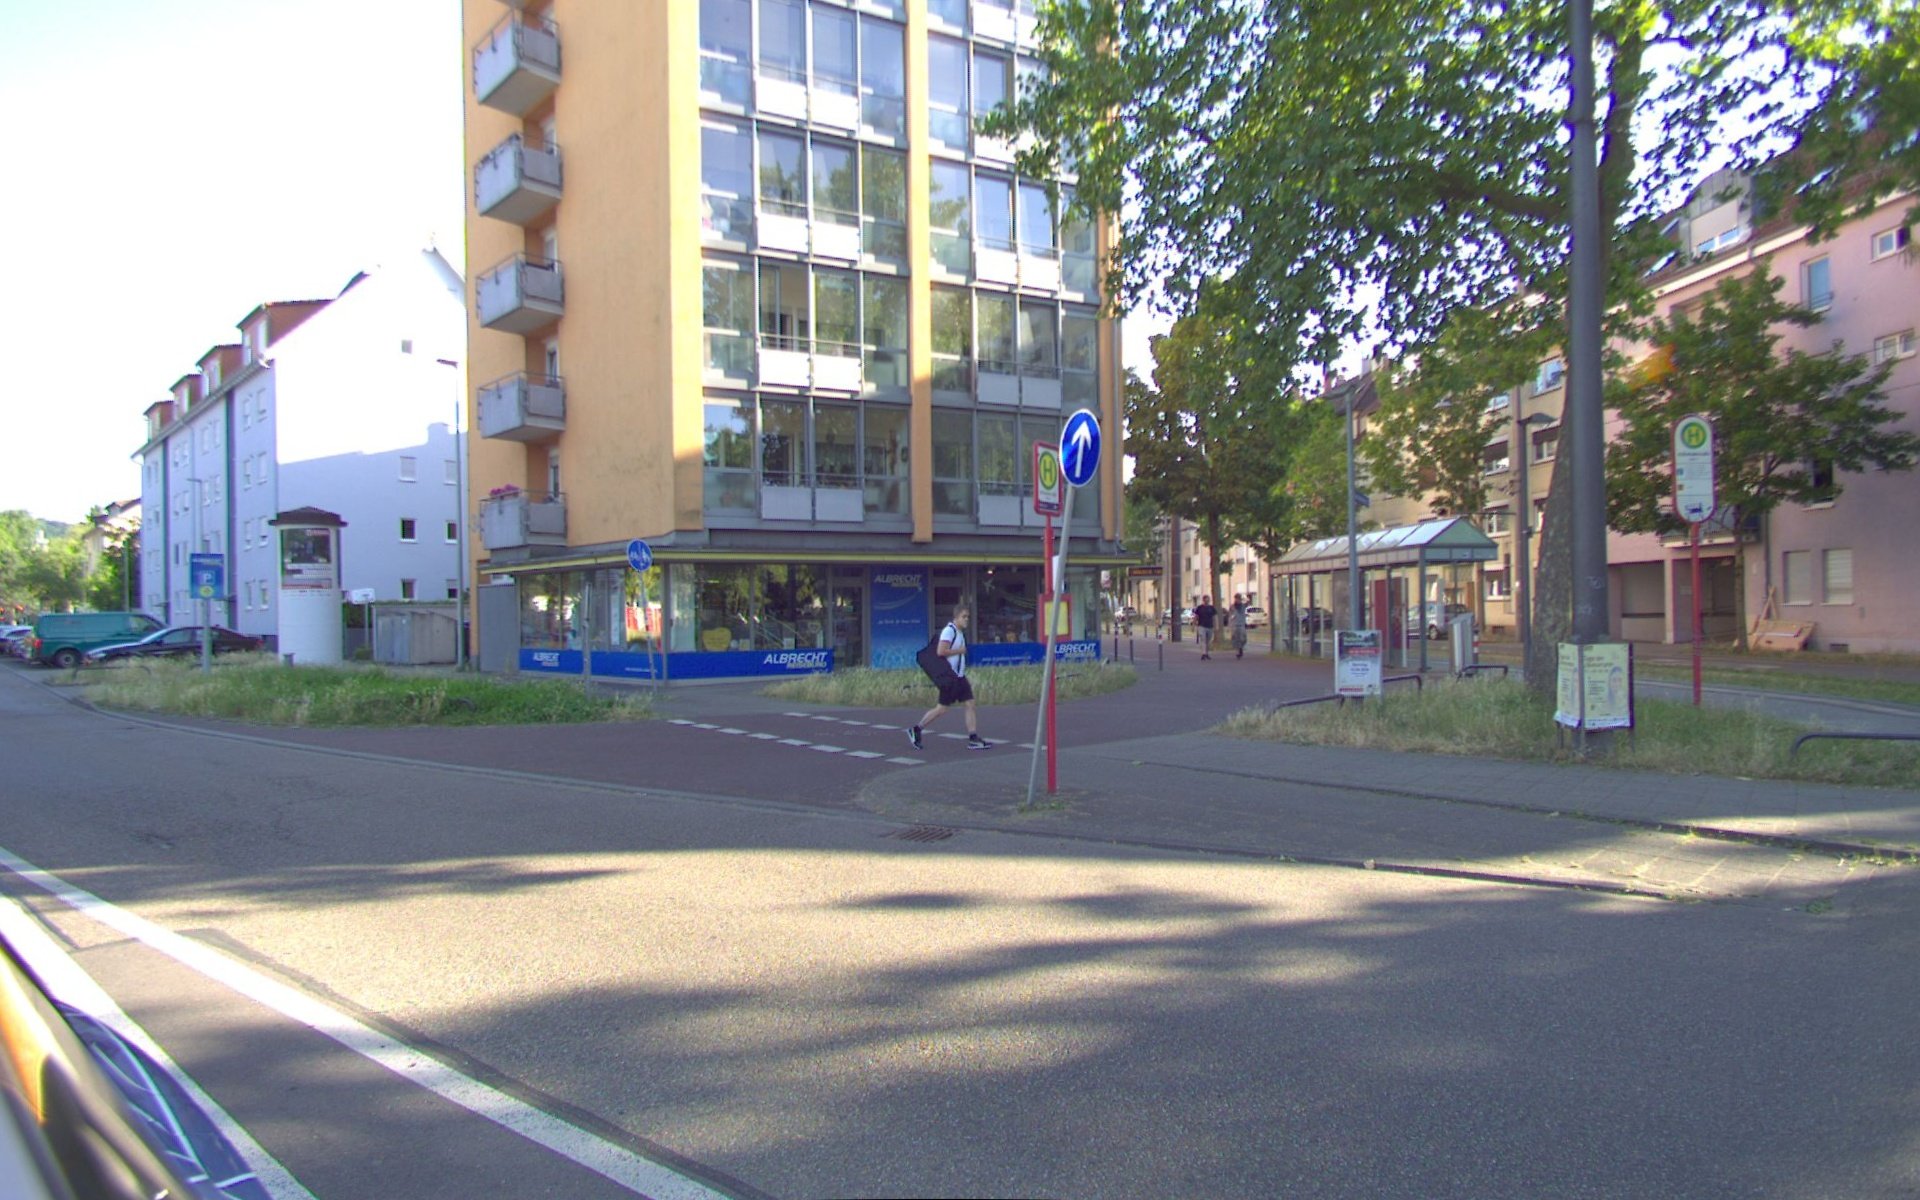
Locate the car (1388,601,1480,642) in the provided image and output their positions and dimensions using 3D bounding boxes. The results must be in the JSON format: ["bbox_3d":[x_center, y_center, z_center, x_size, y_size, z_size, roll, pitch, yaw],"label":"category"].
[{"bbox_3d":[20.740,0.907,44.438,1.911,1.719,4.115,-1,0,-3],"label":"car"}]

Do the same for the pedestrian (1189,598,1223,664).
[{"bbox_3d":[6.677,0.838,27.525,0.803,1.763,0.538,-1,0,6],"label":"pedestrian"}]

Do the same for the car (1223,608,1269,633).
[{"bbox_3d":[19.165,1.345,68.058,1.741,1.588,4.049,-1,0,-3],"label":"car"}]

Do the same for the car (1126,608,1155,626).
[{"bbox_3d":[17.775,1.636,99.879,1.911,1.719,4.003,-1,0,-3],"label":"car"}]

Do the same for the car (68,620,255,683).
[{"bbox_3d":[-24.278,1.509,30.870,4.361,1.674,2.003,-1,0,-41],"label":"car"}]

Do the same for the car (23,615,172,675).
[{"bbox_3d":[-31.221,1.558,36.692,2.001,1.962,3.942,-1,0,44],"label":"car"}]

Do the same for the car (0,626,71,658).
[{"bbox_3d":[-55.800,2.473,60.438,4.016,1.765,1.900,-1,0,-44],"label":"car"}]

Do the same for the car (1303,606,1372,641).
[{"bbox_3d":[19.909,1.202,53.606,1.911,1.719,4.115,-1,0,-3],"label":"car"}]

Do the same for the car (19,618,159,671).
[{"bbox_3d":[-33.127,1.649,38.535,3.941,1.829,2.001,-1,0,-44],"label":"car"}]

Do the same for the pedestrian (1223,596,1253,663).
[{"bbox_3d":[7.448,0.772,27.126,0.622,1.763,0.689,-1,0,6],"label":"pedestrian"}]

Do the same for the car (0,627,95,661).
[{"bbox_3d":[-48.127,2.275,52.961,4.199,1.585,1.867,-1,0,-44],"label":"car"}]

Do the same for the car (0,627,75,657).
[{"bbox_3d":[-55.666,2.502,60.385,4.199,1.585,1.867,-1,0,-44],"label":"car"}]

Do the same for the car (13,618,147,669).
[{"bbox_3d":[-35.126,1.674,40.438,3.941,1.829,2.001,-1,0,-44],"label":"car"}]

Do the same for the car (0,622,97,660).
[{"bbox_3d":[-46.124,2.038,50.870,4.061,1.785,1.758,-1,0,-44],"label":"car"}]

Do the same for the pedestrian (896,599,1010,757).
[{"bbox_3d":[-0.069,0.874,11.856,1.080,1.750,0.897,-1,0,19],"label":"pedestrian"}]

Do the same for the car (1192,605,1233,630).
[{"bbox_3d":[18.697,1.265,75.163,1.808,1.719,4.059,-1,0,-3],"label":"car"}]

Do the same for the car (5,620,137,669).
[{"bbox_3d":[-36.864,1.808,42.016,4.003,1.829,1.938,-1,0,-44],"label":"car"}]

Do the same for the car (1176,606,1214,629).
[{"bbox_3d":[18.635,1.350,80.352,1.771,1.719,4.170,-1,0,-3],"label":"car"}]

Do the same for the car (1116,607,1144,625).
[{"bbox_3d":[17.725,1.636,105.552,1.911,1.719,4.372,-1,0,-3],"label":"car"}]

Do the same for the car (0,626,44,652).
[{"bbox_3d":[-63.503,2.604,66.997,4.199,1.585,1.867,-1,0,-44],"label":"car"}]

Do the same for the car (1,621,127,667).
[{"bbox_3d":[-38.833,1.866,43.934,4.016,1.765,1.900,-1,0,-44],"label":"car"}]

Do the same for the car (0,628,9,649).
[{"bbox_3d":[-74.767,2.988,76.965,3.490,1.585,1.867,-1,0,-44],"label":"car"}]

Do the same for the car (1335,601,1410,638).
[{"bbox_3d":[19.899,0.918,48.993,1.911,1.719,3.827,-1,0,-3],"label":"car"}]

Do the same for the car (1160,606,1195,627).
[{"bbox_3d":[18.423,1.392,85.807,1.830,1.719,4.170,-1,0,-3],"label":"car"}]
